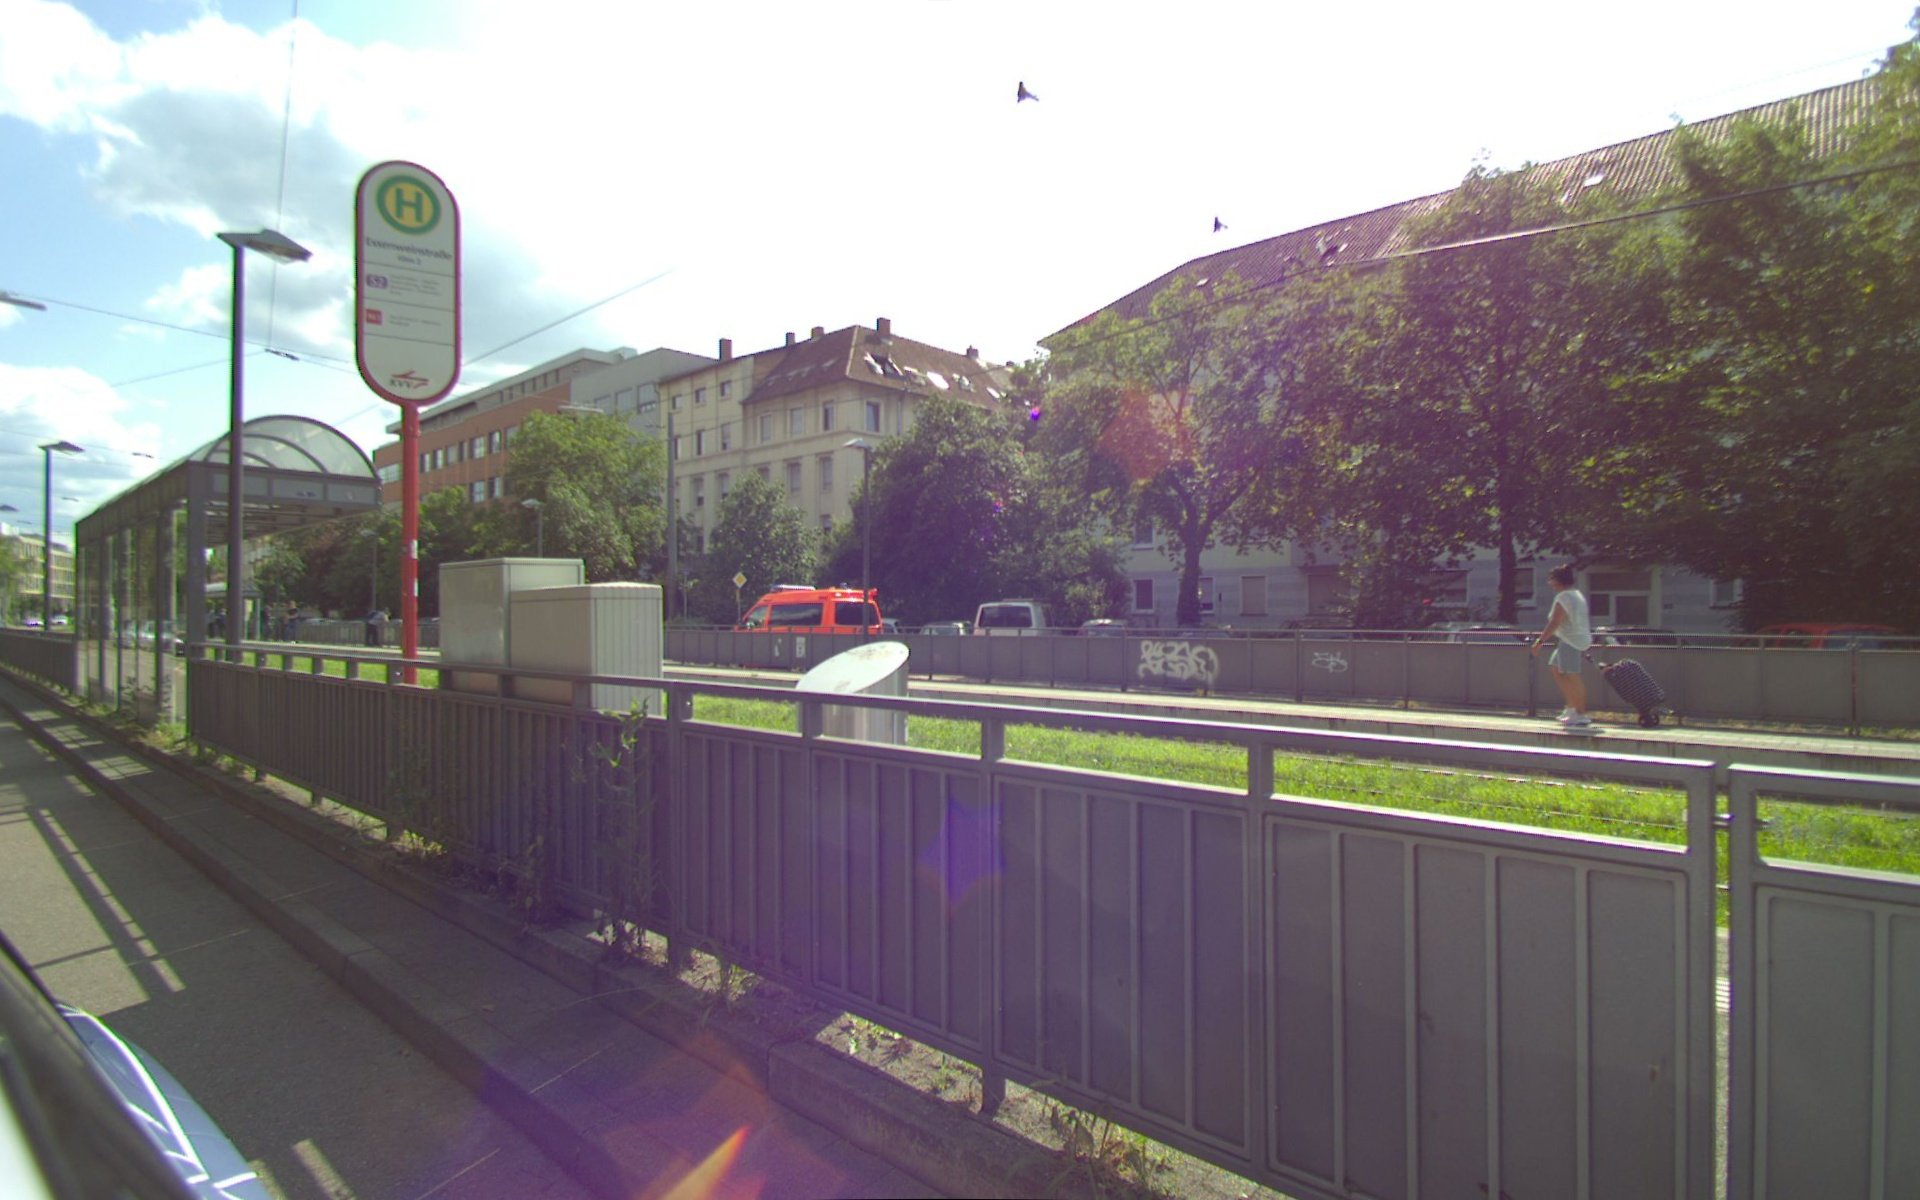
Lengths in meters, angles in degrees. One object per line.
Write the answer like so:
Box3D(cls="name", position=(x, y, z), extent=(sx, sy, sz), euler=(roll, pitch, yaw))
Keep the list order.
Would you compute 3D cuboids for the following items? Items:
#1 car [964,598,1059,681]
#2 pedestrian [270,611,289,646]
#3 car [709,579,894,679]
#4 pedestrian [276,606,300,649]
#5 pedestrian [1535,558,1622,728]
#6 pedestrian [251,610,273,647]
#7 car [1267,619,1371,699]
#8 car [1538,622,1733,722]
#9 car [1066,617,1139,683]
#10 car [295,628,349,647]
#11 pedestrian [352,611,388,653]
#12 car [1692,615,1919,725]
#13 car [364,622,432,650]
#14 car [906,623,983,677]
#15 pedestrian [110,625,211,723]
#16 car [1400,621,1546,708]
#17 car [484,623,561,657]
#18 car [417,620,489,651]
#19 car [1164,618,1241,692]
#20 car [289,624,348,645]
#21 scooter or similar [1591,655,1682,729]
Box3D(cls="car", position=(1.502, 1.055, 27.815), extent=(2.029, 2.086, 3.937), euler=(-1, -1, 12))
Box3D(cls="pedestrian", position=(-32.729, 1.367, 48.685), extent=(0.625, 1.687, 0.600), euler=(-1, -1, 43))
Box3D(cls="car", position=(-4.062, 0.771, 25.461), extent=(4.833, 2.293, 1.972), euler=(-2, -5, 43))
Box3D(cls="pedestrian", position=(-29.895, 1.207, 45.018), extent=(0.742, 1.906, 0.639), euler=(1, 1, -45))
Box3D(cls="pedestrian", position=(6.388, 0.429, 10.454), extent=(0.632, 1.677, 0.653), euler=(-1, -2, 42))
Box3D(cls="pedestrian", position=(-33.267, 1.359, 48.241), extent=(0.599, 1.767, 0.626), euler=(0, -1, -7))
Box3D(cls="car", position=(7.742, 1.225, 22.111), extent=(1.632, 1.591, 3.652), euler=(-1, -1, 12))
Box3D(cls="car", position=(11.910, 1.191, 18.131), extent=(1.632, 1.591, 3.652), euler=(-1, -1, 12))
Box3D(cls="car", position=(3.806, 1.256, 26.523), extent=(1.701, 1.591, 3.937), euler=(-1, -1, 11))
Box3D(cls="car", position=(-45.810, 2.676, 72.731), extent=(1.585, 1.314, 3.244), euler=(-1, -1, 8))
Box3D(cls="pedestrian", position=(-22.923, 1.238, 39.348), extent=(0.798, 1.590, 0.978), euler=(-1, -1, 40))
Box3D(cls="car", position=(13.828, 1.063, 16.552), extent=(1.632, 1.591, 3.652), euler=(-1, -1, 12))
Box3D(cls="car", position=(-34.716, 2.206, 62.659), extent=(1.652, 1.540, 3.992), euler=(-2, 0, 6))
Box3D(cls="car", position=(-0.394, 1.450, 30.196), extent=(1.591, 1.497, 3.988), euler=(-1, -1, 9))
Box3D(cls="pedestrian", position=(-9.194, 0.840, 11.665), extent=(0.652, 1.080, 0.725), euler=(0, -2, -13))
Box3D(cls="car", position=(9.854, 1.169, 19.743), extent=(1.593, 1.525, 4.011), euler=(0, -1, 13))
Box3D(cls="car", position=(-21.539, 1.946, 49.987), extent=(1.901, 1.576, 4.150), euler=(0, -1, 2))
Box3D(cls="car", position=(-28.400, 1.961, 56.818), extent=(1.811, 1.652, 4.132), euler=(0, -1, 3))
Box3D(cls="car", position=(5.687, 1.243, 23.968), extent=(1.632, 1.591, 3.652), euler=(-1, -1, 12))
Box3D(cls="car", position=(-47.966, 2.560, 75.709), extent=(1.631, 1.508, 3.993), euler=(-1, -1, 6))
Box3D(cls="scooter or similar", position=(6.893, 0.925, 10.318), extent=(0.700, 0.704, 0.438), euler=(-1, -2, 42))
